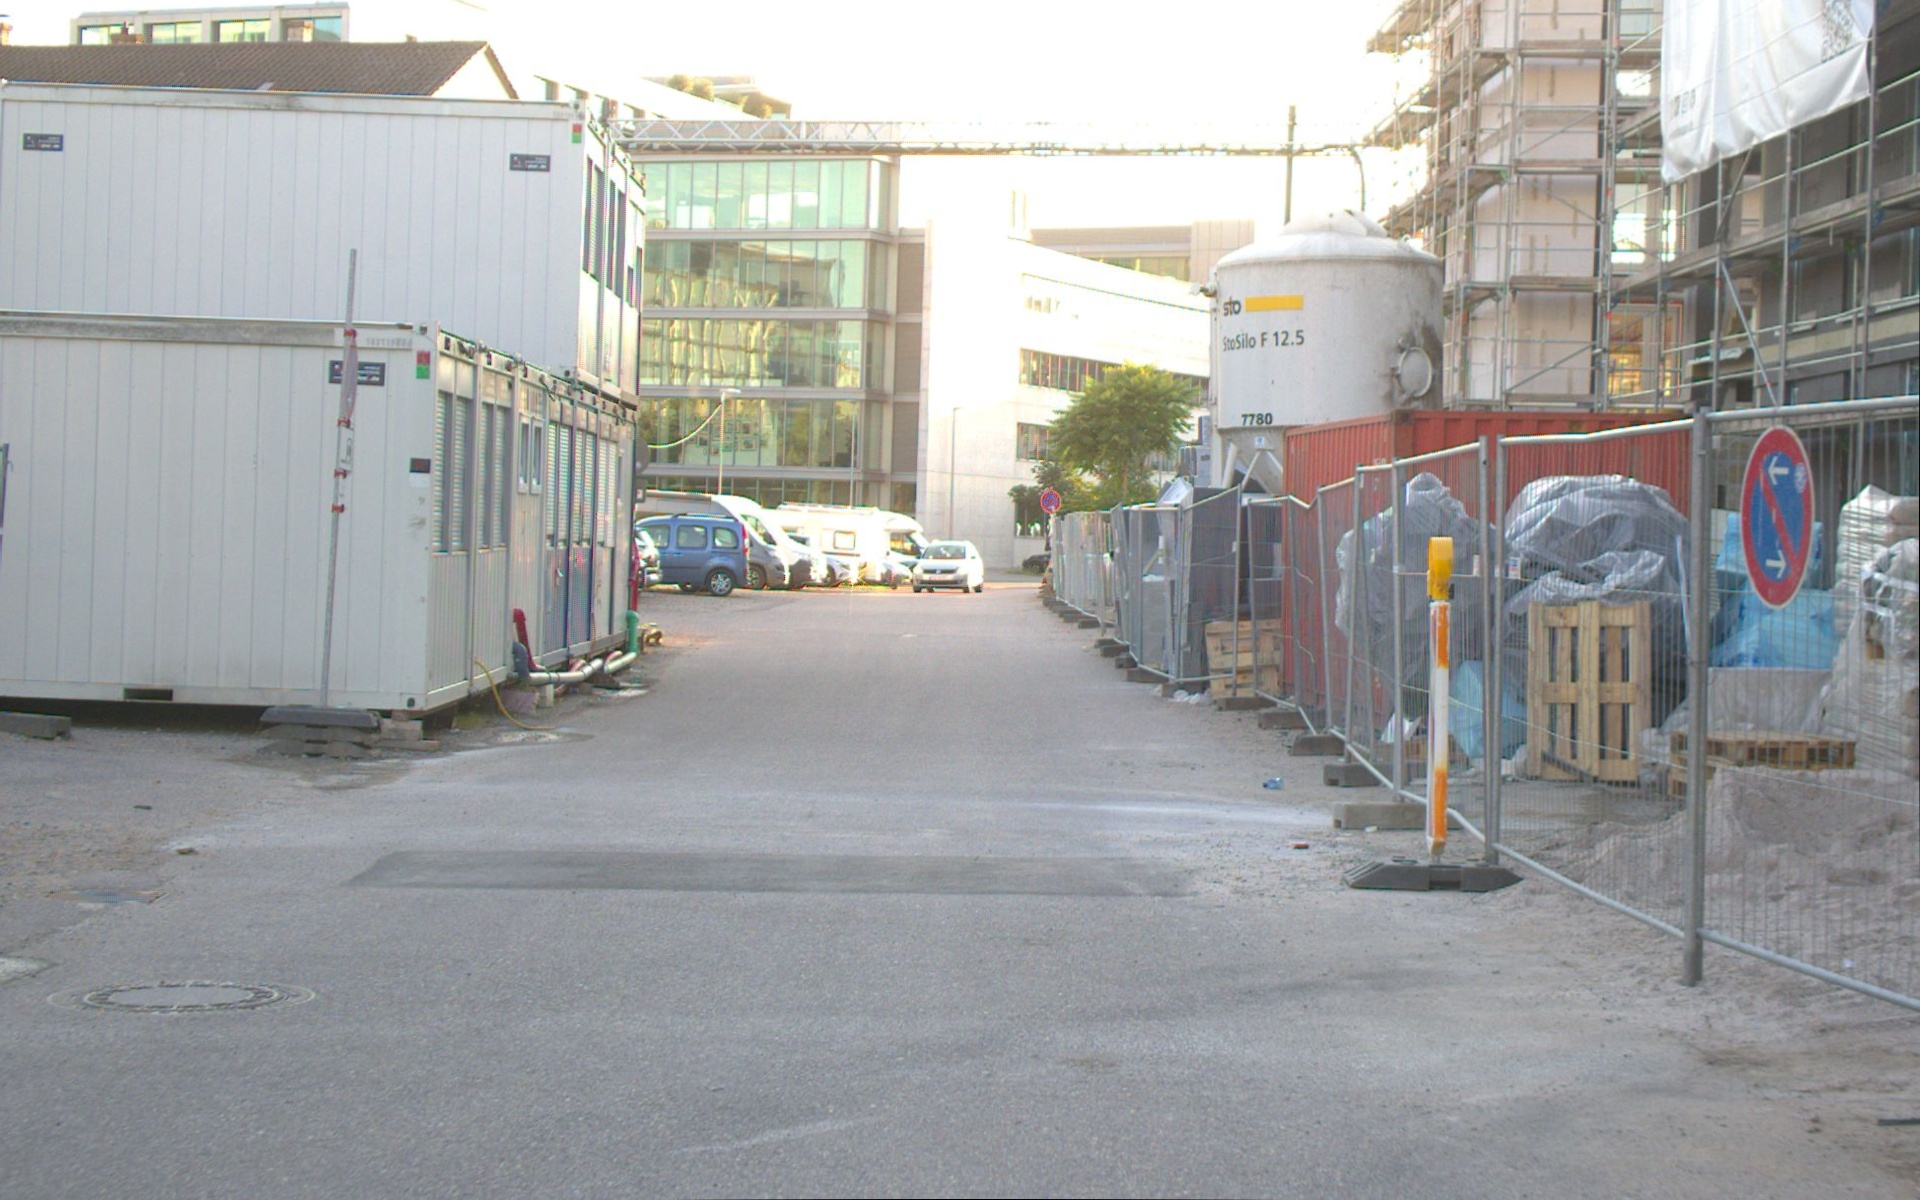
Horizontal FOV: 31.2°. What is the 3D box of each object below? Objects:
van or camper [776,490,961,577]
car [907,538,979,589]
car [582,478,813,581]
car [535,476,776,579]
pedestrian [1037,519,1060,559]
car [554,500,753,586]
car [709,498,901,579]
[{"bbox_3d":[-3.371,-2.448,126.849,6.336,2.968,2.291,3,1,13],"label":"van or camper"},{"bbox_3d":[-0.501,-1.135,106.251,1.665,1.523,3.909,2,1,8],"label":"car"},{"bbox_3d":[-7.431,-2.008,97.793,6.328,2.731,2.000,1,1,1],"label":"car"},{"bbox_3d":[-8.282,-1.982,93.904,6.328,2.642,2.000,1,1,1],"label":"car"},{"bbox_3d":[4.144,-2.845,160.502,0.764,1.810,0.844,2,1,24],"label":"pedestrian"},{"bbox_3d":[-7.127,-1.325,80.012,4.503,1.862,2.000,1,1,-5],"label":"car"},{"bbox_3d":[-5.088,-2.020,113.049,5.926,2.481,1.999,2,1,11],"label":"car"}]
